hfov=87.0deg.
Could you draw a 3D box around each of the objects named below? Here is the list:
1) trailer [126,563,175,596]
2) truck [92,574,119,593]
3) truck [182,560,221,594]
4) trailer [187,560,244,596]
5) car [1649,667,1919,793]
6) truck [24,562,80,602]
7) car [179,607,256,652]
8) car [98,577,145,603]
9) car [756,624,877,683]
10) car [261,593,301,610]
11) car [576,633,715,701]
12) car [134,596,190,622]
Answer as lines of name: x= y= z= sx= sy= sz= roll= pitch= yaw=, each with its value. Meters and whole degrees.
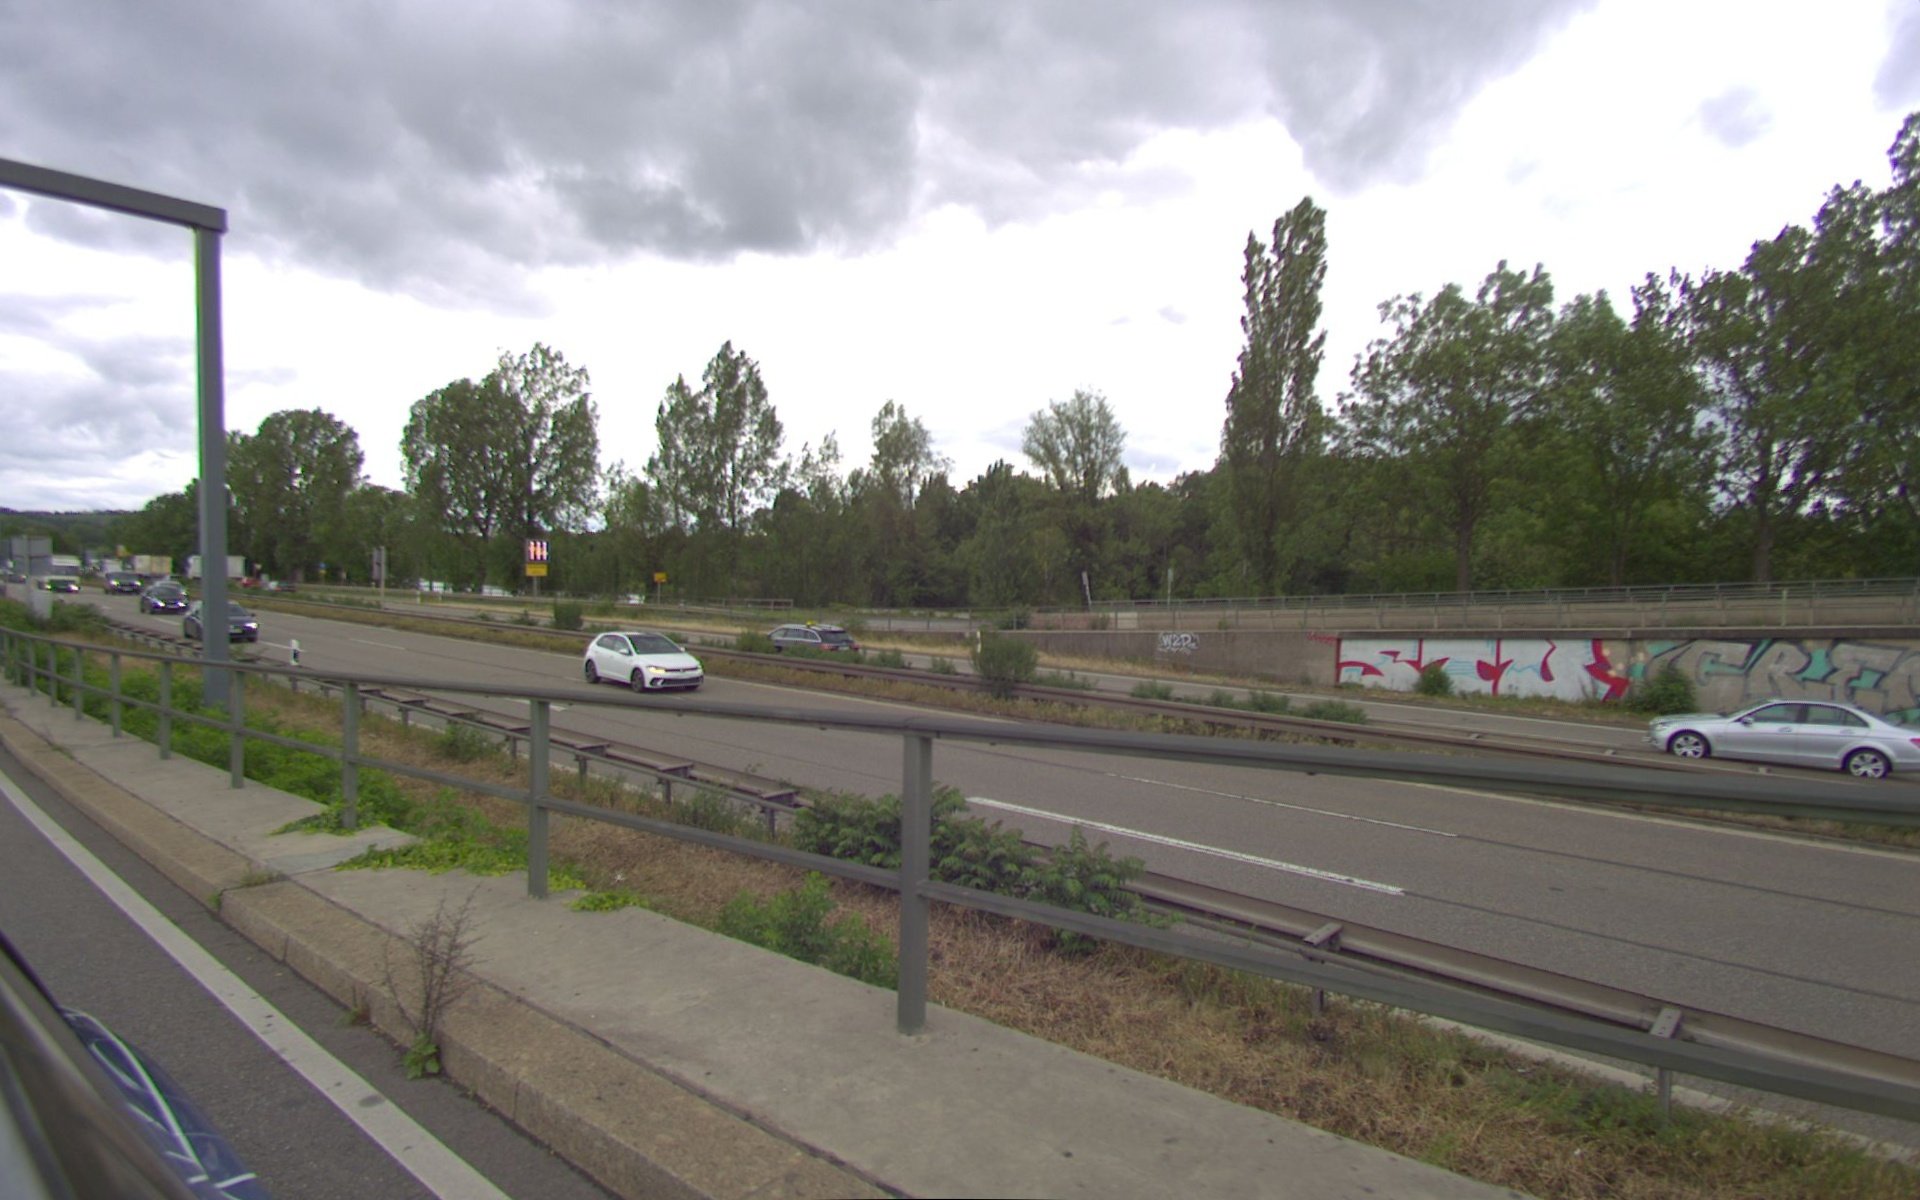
trailer: x=-119.287 y=-3.020 z=149.016 sx=14.780 sy=4.708 sz=3.426 roll=1 pitch=2 yaw=42
truck: x=-169.631 y=-3.209 z=200.772 sx=6.332 sy=3.670 sz=2.953 roll=1 pitch=2 yaw=40
truck: x=-91.462 y=-2.817 z=122.001 sx=5.313 sy=3.966 sz=2.760 roll=2 pitch=2 yaw=43
trailer: x=-86.286 y=-2.635 z=117.201 sx=13.514 sy=3.978 sz=2.760 roll=2 pitch=2 yaw=43
car: x=16.617 y=2.486 z=19.970 sx=4.702 sy=1.704 sz=1.973 roll=6 pitch=3 yaw=41
truck: x=-77.098 y=-1.595 z=85.904 sx=7.572 sy=3.182 sz=2.998 roll=2 pitch=1 yaw=44
car: x=-27.574 y=1.045 z=37.528 sx=1.911 sy=1.512 sz=4.309 roll=2 pitch=-1 yaw=-42
car: x=-70.422 y=-0.837 z=84.964 sx=5.336 sy=2.029 sz=2.072 roll=3 pitch=1 yaw=40
car: x=-4.889 y=1.751 z=34.174 sx=4.001 sy=1.741 sz=1.972 roll=1 pitch=0 yaw=43
car: x=-58.127 y=0.114 z=86.598 sx=4.000 sy=1.446 sz=1.972 roll=1 pitch=0 yaw=43
car: x=-8.499 y=1.732 z=27.161 sx=4.001 sy=1.511 sz=1.834 roll=1 pitch=0 yaw=43
car: x=-42.969 y=0.459 z=54.474 sx=3.646 sy=1.337 sz=1.705 roll=1 pitch=0 yaw=41
